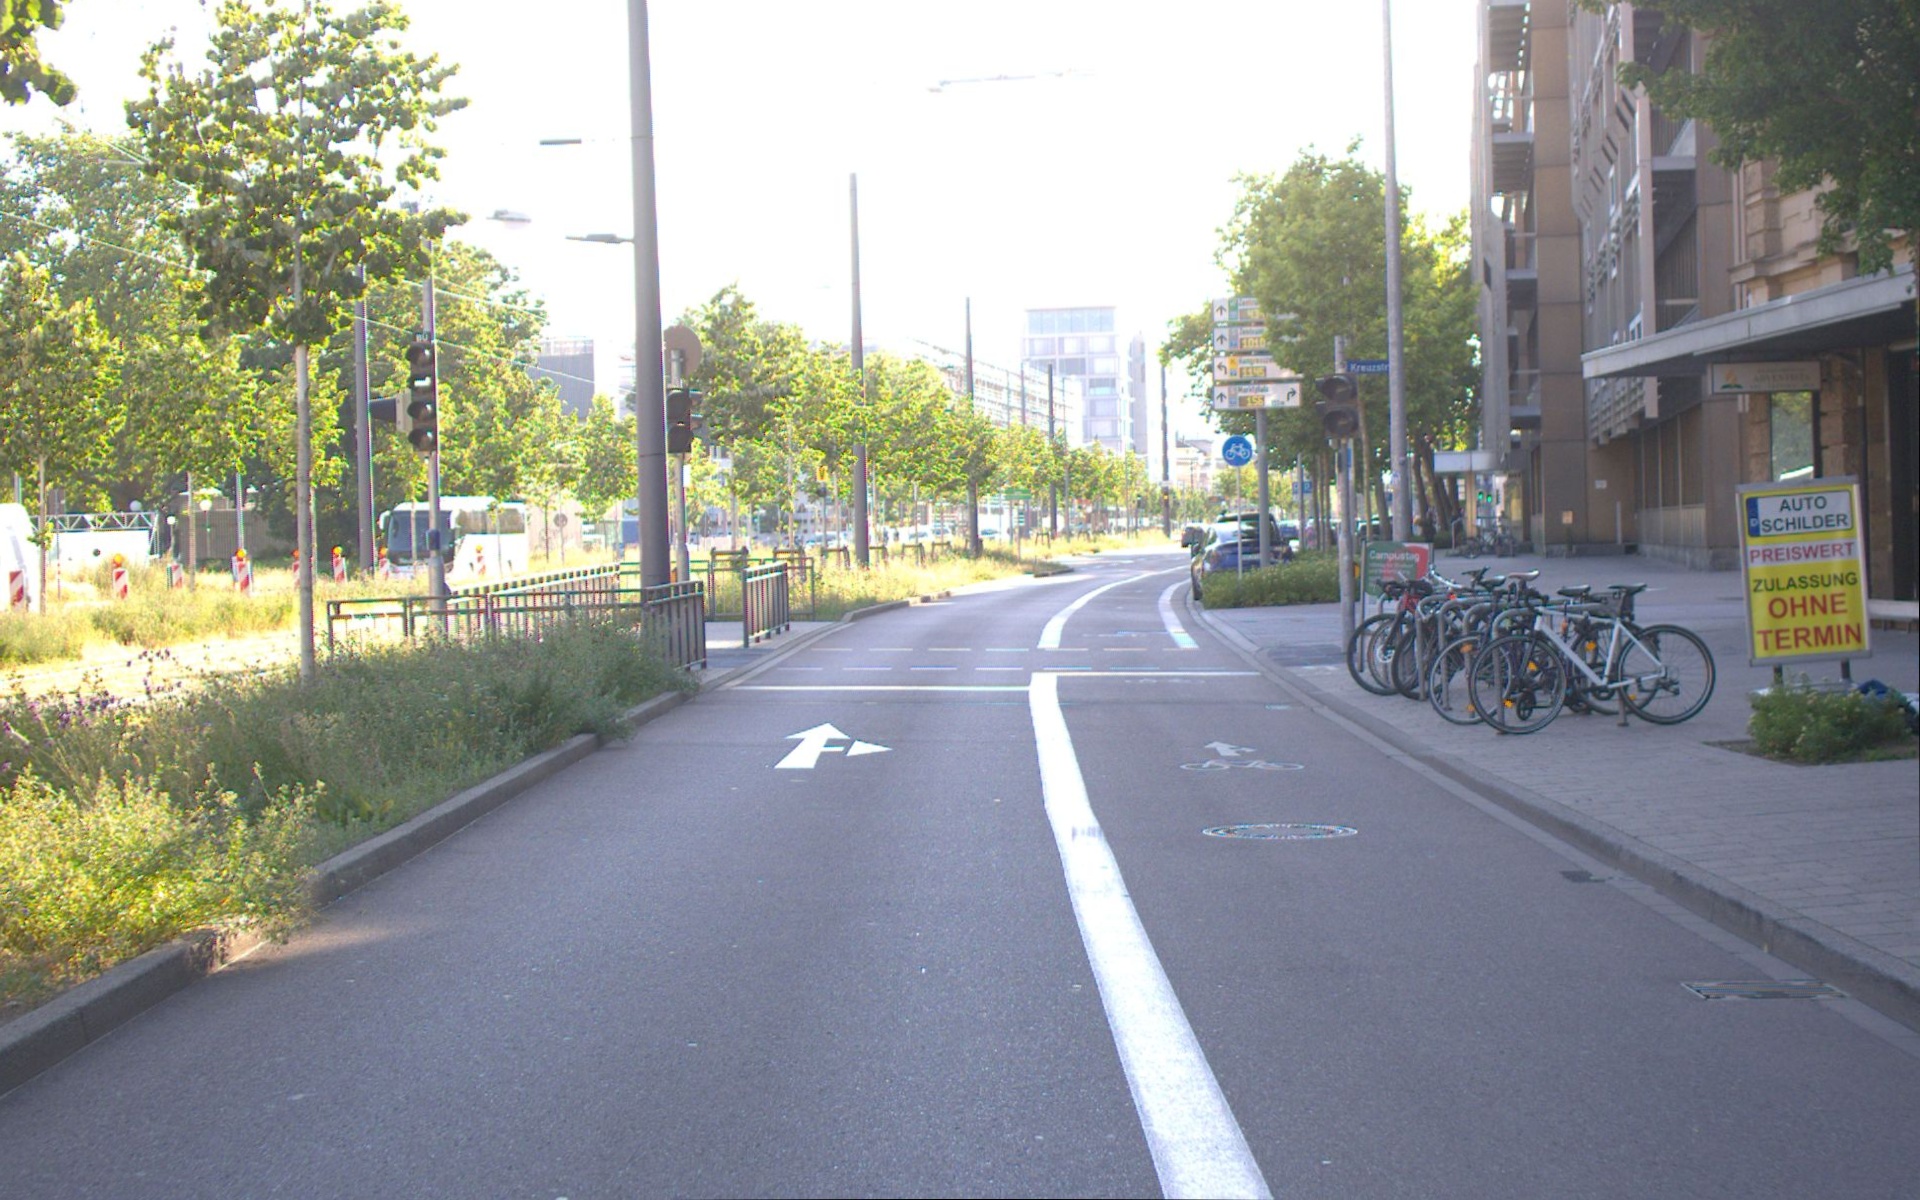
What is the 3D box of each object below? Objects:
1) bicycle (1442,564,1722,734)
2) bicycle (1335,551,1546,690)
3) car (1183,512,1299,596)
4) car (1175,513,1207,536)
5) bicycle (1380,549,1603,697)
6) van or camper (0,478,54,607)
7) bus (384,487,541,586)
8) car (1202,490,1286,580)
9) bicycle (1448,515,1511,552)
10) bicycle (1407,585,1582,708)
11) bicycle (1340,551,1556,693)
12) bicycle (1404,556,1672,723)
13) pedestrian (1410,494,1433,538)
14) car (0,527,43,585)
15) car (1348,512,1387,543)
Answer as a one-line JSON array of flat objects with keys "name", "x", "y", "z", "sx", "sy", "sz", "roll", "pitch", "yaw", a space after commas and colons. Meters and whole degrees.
[{"name": "bicycle", "x": 4.282, "y": 0.335, "z": 23.751, "sx": 1.805, "sy": 1.044, "sz": 0.566, "roll": -4, "pitch": 1, "yaw": 5}, {"name": "bicycle", "x": 4.217, "y": 0.180, "z": 30.230, "sx": 1.754, "sy": 1.100, "sz": 0.507, "roll": -4, "pitch": 1, "yaw": 5}, {"name": "car", "x": 5.803, "y": -0.983, "z": 71.562, "sx": 1.931, "sy": 1.593, "sz": 4.699, "roll": -3, "pitch": 1, "yaw": 0}, {"name": "car", "x": 14.326, "y": -4.670, "z": 213.169, "sx": 1.777, "sy": 1.423, "sz": 3.999, "roll": 0, "pitch": 1, "yaw": 7}, {"name": "bicycle", "x": 4.373, "y": 0.190, "z": 28.357, "sx": 1.722, "sy": 1.100, "sz": 0.507, "roll": -4, "pitch": 1, "yaw": 5}, {"name": "van or camper", "x": -19.770, "y": -1.065, "z": 67.179, "sx": 2.221, "sy": 2.501, "sz": 7.202, "roll": -3, "pitch": 2, "yaw": -1}, {"name": "bus", "x": -19.042, "y": -2.496, "z": 132.473, "sx": 2.799, "sy": 3.582, "sz": 12.696, "roll": -1, "pitch": 1, "yaw": 6}, {"name": "car", "x": 6.505, "y": -1.506, "z": 78.981, "sx": 1.735, "sy": 1.912, "sz": 4.393, "roll": -3, "pitch": 1, "yaw": 4}, {"name": "bicycle", "x": 16.470, "y": -2.118, "z": 109.038, "sx": 1.899, "sy": 1.089, "sz": 0.392, "roll": -2, "pitch": 1, "yaw": 1}, {"name": "bicycle", "x": 4.175, "y": 0.360, "z": 26.916, "sx": 1.275, "sy": 0.874, "sz": 0.507, "roll": -4, "pitch": 1, "yaw": 5}, {"name": "bicycle", "x": 4.198, "y": 0.184, "z": 29.639, "sx": 1.754, "sy": 1.100, "sz": 0.507, "roll": -4, "pitch": 1, "yaw": 5}, {"name": "bicycle", "x": 4.232, "y": 0.285, "z": 25.262, "sx": 1.844, "sy": 1.100, "sz": 0.566, "roll": -4, "pitch": 1, "yaw": 5}, {"name": "pedestrian", "x": 17.816, "y": -3.240, "z": 132.725, "sx": 0.789, "sy": 1.643, "sz": 1.136, "roll": -2, "pitch": 1, "yaw": 7}, {"name": "car", "x": -30.619, "y": -1.289, "z": 103.762, "sx": 5.227, "sy": 1.711, "sz": 2.125, "roll": -1, "pitch": 1, "yaw": 5}, {"name": "car", "x": 20.362, "y": -3.626, "z": 171.589, "sx": 1.707, "sy": 1.413, "sz": 4.275, "roll": -3, "pitch": 1, "yaw": 9}]
